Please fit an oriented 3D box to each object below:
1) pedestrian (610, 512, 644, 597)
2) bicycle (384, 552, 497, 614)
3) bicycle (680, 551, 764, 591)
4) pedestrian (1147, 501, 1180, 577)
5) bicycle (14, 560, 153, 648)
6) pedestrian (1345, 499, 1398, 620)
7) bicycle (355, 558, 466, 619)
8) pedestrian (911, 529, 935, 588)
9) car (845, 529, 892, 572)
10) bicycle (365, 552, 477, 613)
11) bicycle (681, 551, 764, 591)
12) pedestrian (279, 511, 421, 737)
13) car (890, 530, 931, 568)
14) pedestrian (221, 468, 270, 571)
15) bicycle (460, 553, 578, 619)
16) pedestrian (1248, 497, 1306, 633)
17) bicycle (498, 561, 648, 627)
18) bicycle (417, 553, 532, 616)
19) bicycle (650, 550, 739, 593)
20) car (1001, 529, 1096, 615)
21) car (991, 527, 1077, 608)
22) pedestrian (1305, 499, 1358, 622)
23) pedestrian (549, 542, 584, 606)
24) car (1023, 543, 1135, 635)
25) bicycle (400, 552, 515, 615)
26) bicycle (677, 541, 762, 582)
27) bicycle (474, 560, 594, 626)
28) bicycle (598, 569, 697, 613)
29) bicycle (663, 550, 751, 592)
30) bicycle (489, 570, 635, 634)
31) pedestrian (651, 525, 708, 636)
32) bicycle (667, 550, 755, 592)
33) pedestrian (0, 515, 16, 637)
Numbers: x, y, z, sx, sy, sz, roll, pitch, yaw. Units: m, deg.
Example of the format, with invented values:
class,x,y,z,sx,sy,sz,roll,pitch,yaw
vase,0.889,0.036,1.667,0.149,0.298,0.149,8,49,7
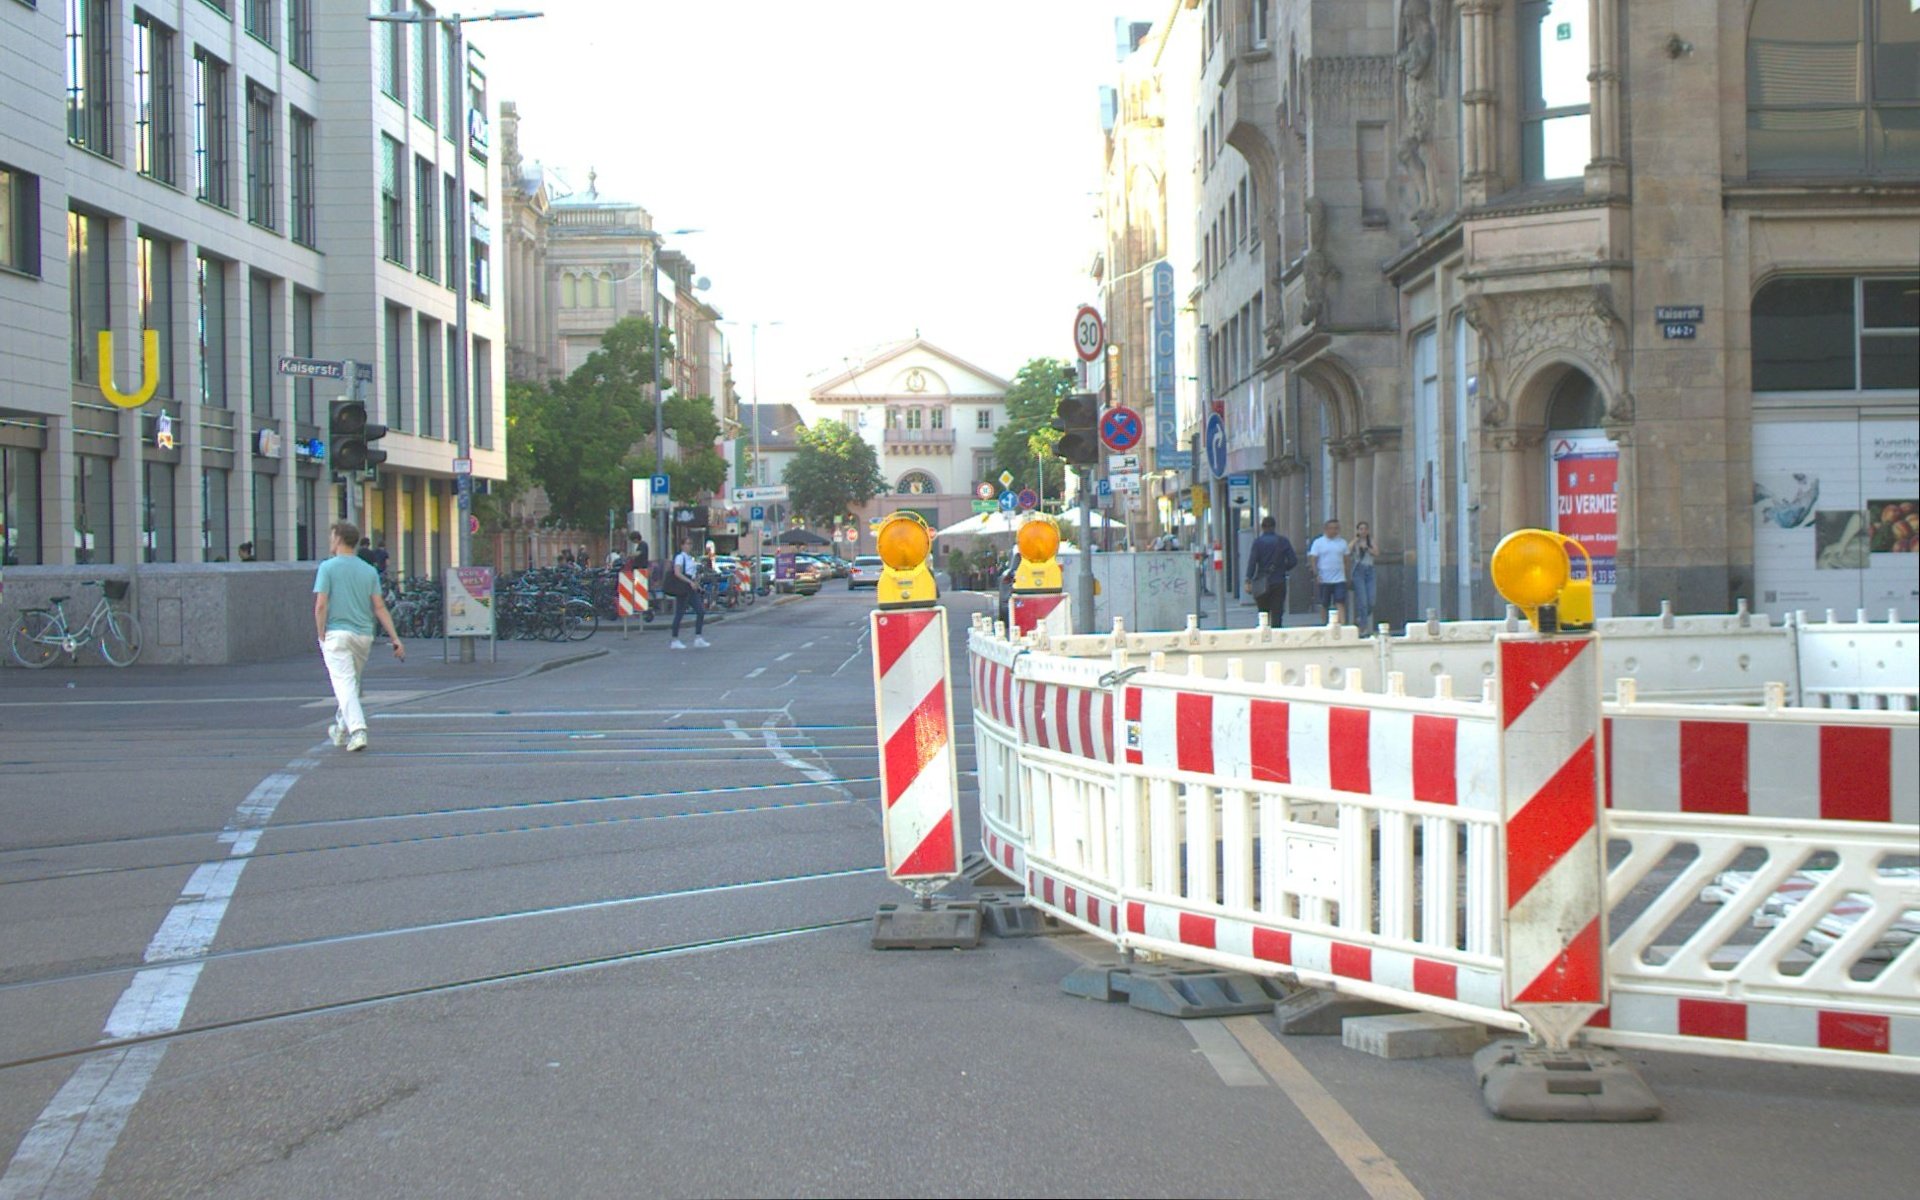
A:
class,x,y,z,sx,sy,sz,roll,pitch,yaw
pedestrian,-7.212,-0.993,74.493,0.656,1.817,0.528,-1,1,-10
bicycle,-9.464,-0.309,62.673,1.967,1.118,0.558,0,1,-28
bicycle,-6.330,-0.775,91.513,2.148,1.026,0.640,-1,1,3
pedestrian,4.553,-1.365,76.933,0.643,1.684,0.671,-1,1,-1
bicycle,-11.431,0.052,44.872,1.696,1.118,0.451,1,1,3
pedestrian,5.780,-0.571,48.305,0.625,1.684,0.626,-1,1,-1
bicycle,-10.267,-0.213,64.224,1.967,1.118,0.558,0,1,-28
pedestrian,-1.150,-1.296,106.652,0.598,1.817,0.452,-1,1,-15
car,-4.078,-2.236,154.027,1.993,1.897,4.000,1,1,0
bicycle,-9.917,-0.323,63.283,1.967,1.118,0.558,0,1,-28
bicycle,-6.382,-0.787,92.240,2.148,1.026,0.640,-1,1,3
pedestrian,-4.829,0.182,27.237,0.866,1.755,0.767,1,1,13
car,-2.534,-2.626,176.327,1.993,1.897,4.000,1,1,0
pedestrian,-11.645,-1.311,56.020,0.680,1.675,0.600,0,1,-2
bicycle,-7.673,-0.245,59.806,1.967,1.118,0.558,0,1,-28
pedestrian,3.988,-0.442,43.250,0.625,1.684,0.671,-1,1,-1
bicycle,-7.859,-0.128,69.882,2.886,1.251,0.804,-2,1,-25
bicycle,-8.667,-0.280,61.392,1.967,1.118,0.558,0,1,-28
bicycle,-6.635,-0.721,86.046,2.148,1.026,0.640,-1,1,3
car,1.676,-0.555,65.922,1.679,1.542,3.673,-2,1,0
car,1.530,-0.707,72.628,1.679,1.608,4.028,-2,1,0
pedestrian,5.148,-0.547,47.647,0.625,1.684,0.671,-1,1,-1
pedestrian,-9.417,-0.628,82.208,0.751,1.524,0.485,-1,1,0
car,1.887,-0.195,55.435,1.679,1.419,3.673,1,1,0
bicycle,-9.068,-0.295,62.039,1.967,1.118,0.558,0,1,-28
bicycle,-6.277,-0.998,89.703,2.148,1.026,0.640,-1,1,3
bicycle,-7.309,-0.121,59.053,1.967,1.118,0.558,0,1,-28
bicycle,-7.105,-0.208,78.230,2.148,0.950,0.640,-1,1,3
bicycle,-6.446,-0.745,87.564,2.148,1.026,0.640,-1,1,3
bicycle,-8.215,0.037,71.010,2.886,1.251,0.804,-2,1,-25
pedestrian,-4.384,-0.308,53.696,0.834,1.715,0.682,-1,1,-7
bicycle,-6.284,-0.731,86.832,2.148,1.026,0.640,-1,1,3
pedestrian,-14.041,-0.349,49.408,0.782,1.745,0.600,0,1,-2
